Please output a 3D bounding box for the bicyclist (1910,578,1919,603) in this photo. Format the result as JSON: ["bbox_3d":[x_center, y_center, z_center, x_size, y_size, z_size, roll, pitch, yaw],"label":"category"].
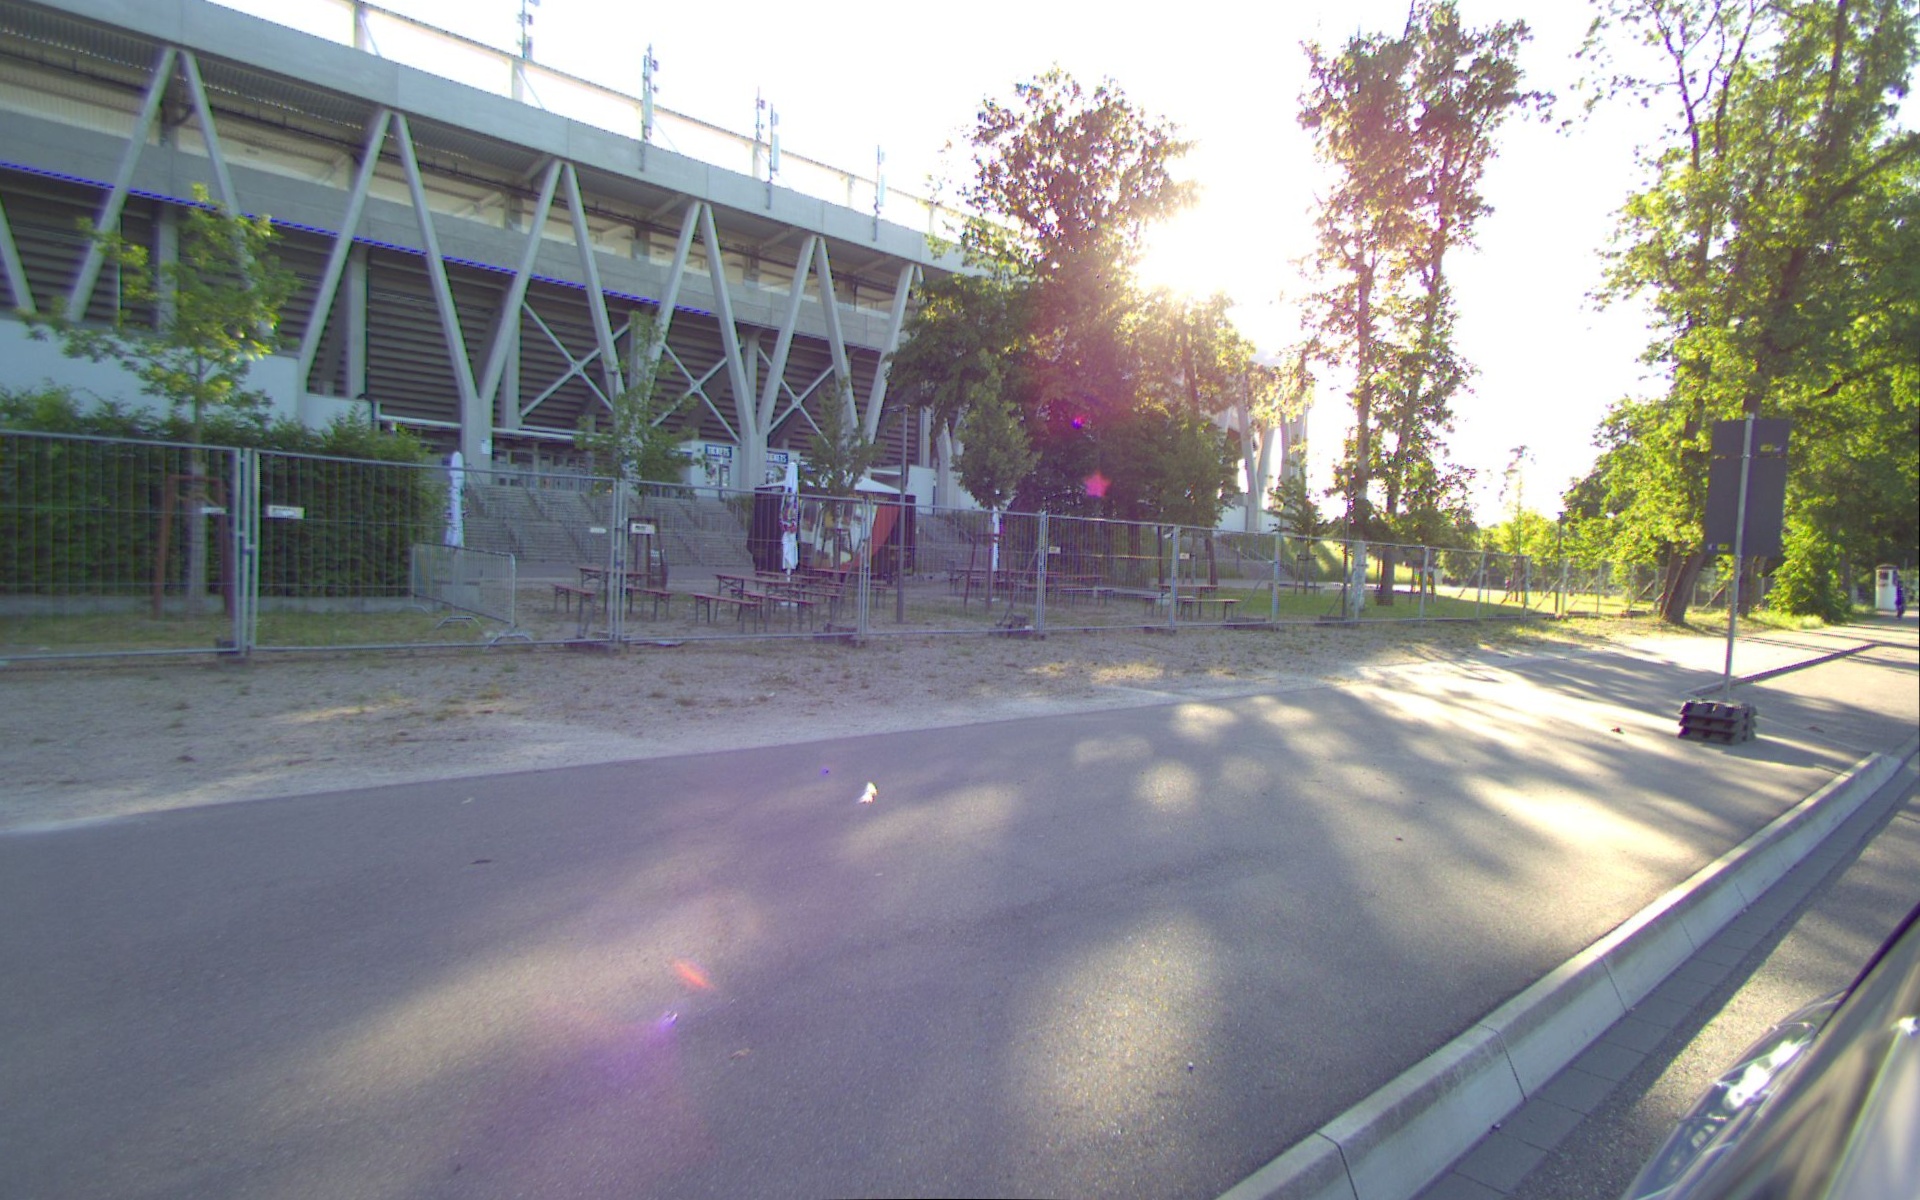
[{"bbox_3d":[57.148,-0.578,60.486,0.565,1.438,0.451,0,2,-40],"label":"bicyclist"}]

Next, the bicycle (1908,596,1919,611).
[{"bbox_3d":[57.190,0.201,60.563,1.876,0.869,0.481,0,2,-41],"label":"bicycle"}]
